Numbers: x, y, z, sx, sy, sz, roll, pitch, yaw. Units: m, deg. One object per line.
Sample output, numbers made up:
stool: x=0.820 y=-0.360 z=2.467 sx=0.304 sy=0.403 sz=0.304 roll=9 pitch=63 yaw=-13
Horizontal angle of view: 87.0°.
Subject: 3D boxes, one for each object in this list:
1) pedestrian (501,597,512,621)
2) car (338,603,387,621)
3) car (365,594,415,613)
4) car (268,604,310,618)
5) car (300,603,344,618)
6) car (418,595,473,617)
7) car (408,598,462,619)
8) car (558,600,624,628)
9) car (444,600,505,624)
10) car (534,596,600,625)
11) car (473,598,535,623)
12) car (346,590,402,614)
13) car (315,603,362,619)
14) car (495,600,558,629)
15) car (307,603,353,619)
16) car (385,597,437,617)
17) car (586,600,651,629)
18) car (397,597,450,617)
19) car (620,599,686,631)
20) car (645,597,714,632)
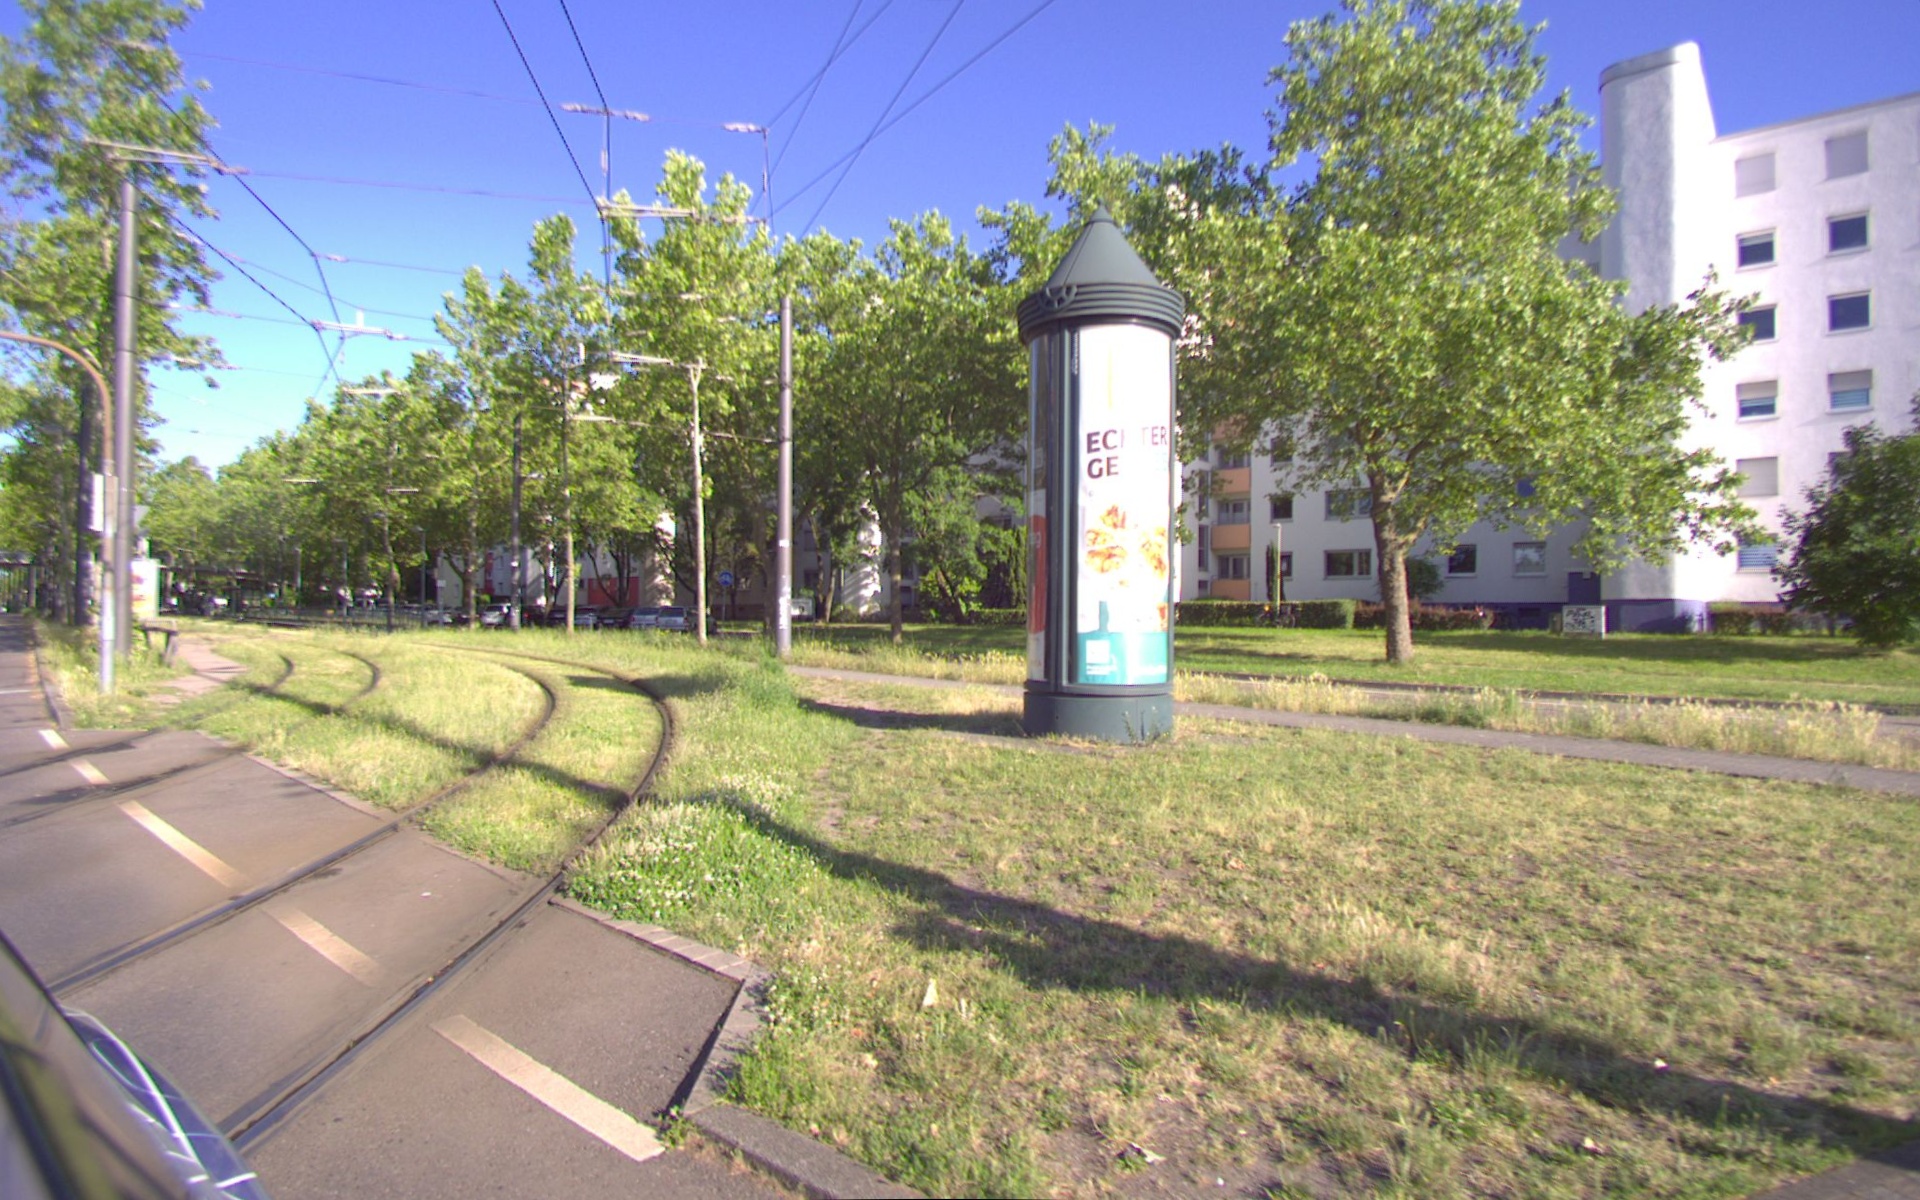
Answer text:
pedestrian: x=-39.355 y=0.763 z=87.840 sx=0.645 sy=2.029 sz=0.671 roll=0 pitch=-1 yaw=43
car: x=-52.253 y=1.013 z=88.534 sx=1.772 sy=1.510 sz=4.045 roll=-1 pitch=0 yaw=3
car: x=-47.530 y=0.303 z=84.459 sx=1.772 sy=1.510 sz=4.045 roll=-1 pitch=0 yaw=3
car: x=-72.700 y=1.162 z=109.660 sx=1.772 sy=1.510 sz=4.045 roll=-1 pitch=0 yaw=3
car: x=-64.746 y=1.077 z=102.782 sx=1.772 sy=1.510 sz=4.045 roll=-1 pitch=0 yaw=3
car: x=-36.704 y=0.435 z=72.294 sx=1.772 sy=1.510 sz=4.045 roll=-1 pitch=0 yaw=3
car: x=-39.021 y=0.623 z=75.375 sx=1.772 sy=1.510 sz=4.045 roll=-1 pitch=0 yaw=3
car: x=-19.622 y=0.720 z=53.951 sx=1.773 sy=1.398 sz=4.044 roll=-1 pitch=0 yaw=5
car: x=-31.871 y=0.767 z=66.582 sx=1.774 sy=1.510 sz=4.041 roll=-1 pitch=0 yaw=6
car: x=-21.780 y=0.569 z=56.294 sx=1.774 sy=1.510 sz=4.041 roll=-1 pitch=0 yaw=6
car: x=-28.876 y=0.677 z=64.211 sx=1.774 sy=1.510 sz=4.041 roll=-1 pitch=0 yaw=6
car: x=-49.855 y=0.199 z=86.212 sx=1.995 sy=1.933 sz=4.427 roll=-1 pitch=0 yaw=3
car: x=-58.371 y=1.030 z=95.067 sx=1.772 sy=1.510 sz=4.045 roll=-1 pitch=0 yaw=3
car: x=-26.386 y=0.879 z=61.737 sx=1.774 sy=1.676 sz=4.041 roll=-1 pitch=0 yaw=6
car: x=-60.696 y=1.049 z=97.522 sx=1.772 sy=1.510 sz=4.045 roll=-1 pitch=0 yaw=3
car: x=-43.169 y=0.547 z=79.646 sx=1.772 sy=1.510 sz=4.045 roll=-1 pitch=0 yaw=3
car: x=-17.298 y=0.739 z=51.433 sx=1.656 sy=1.398 sz=4.044 roll=-1 pitch=0 yaw=5
car: x=-41.174 y=0.538 z=77.749 sx=1.772 sy=1.510 sz=4.045 roll=-1 pitch=0 yaw=3
car: x=-14.972 y=0.704 z=49.618 sx=1.742 sy=1.498 sz=4.044 roll=-1 pitch=0 yaw=5
car: x=-12.830 y=0.641 z=46.524 sx=1.792 sy=1.498 sz=4.044 roll=-1 pitch=0 yaw=5
